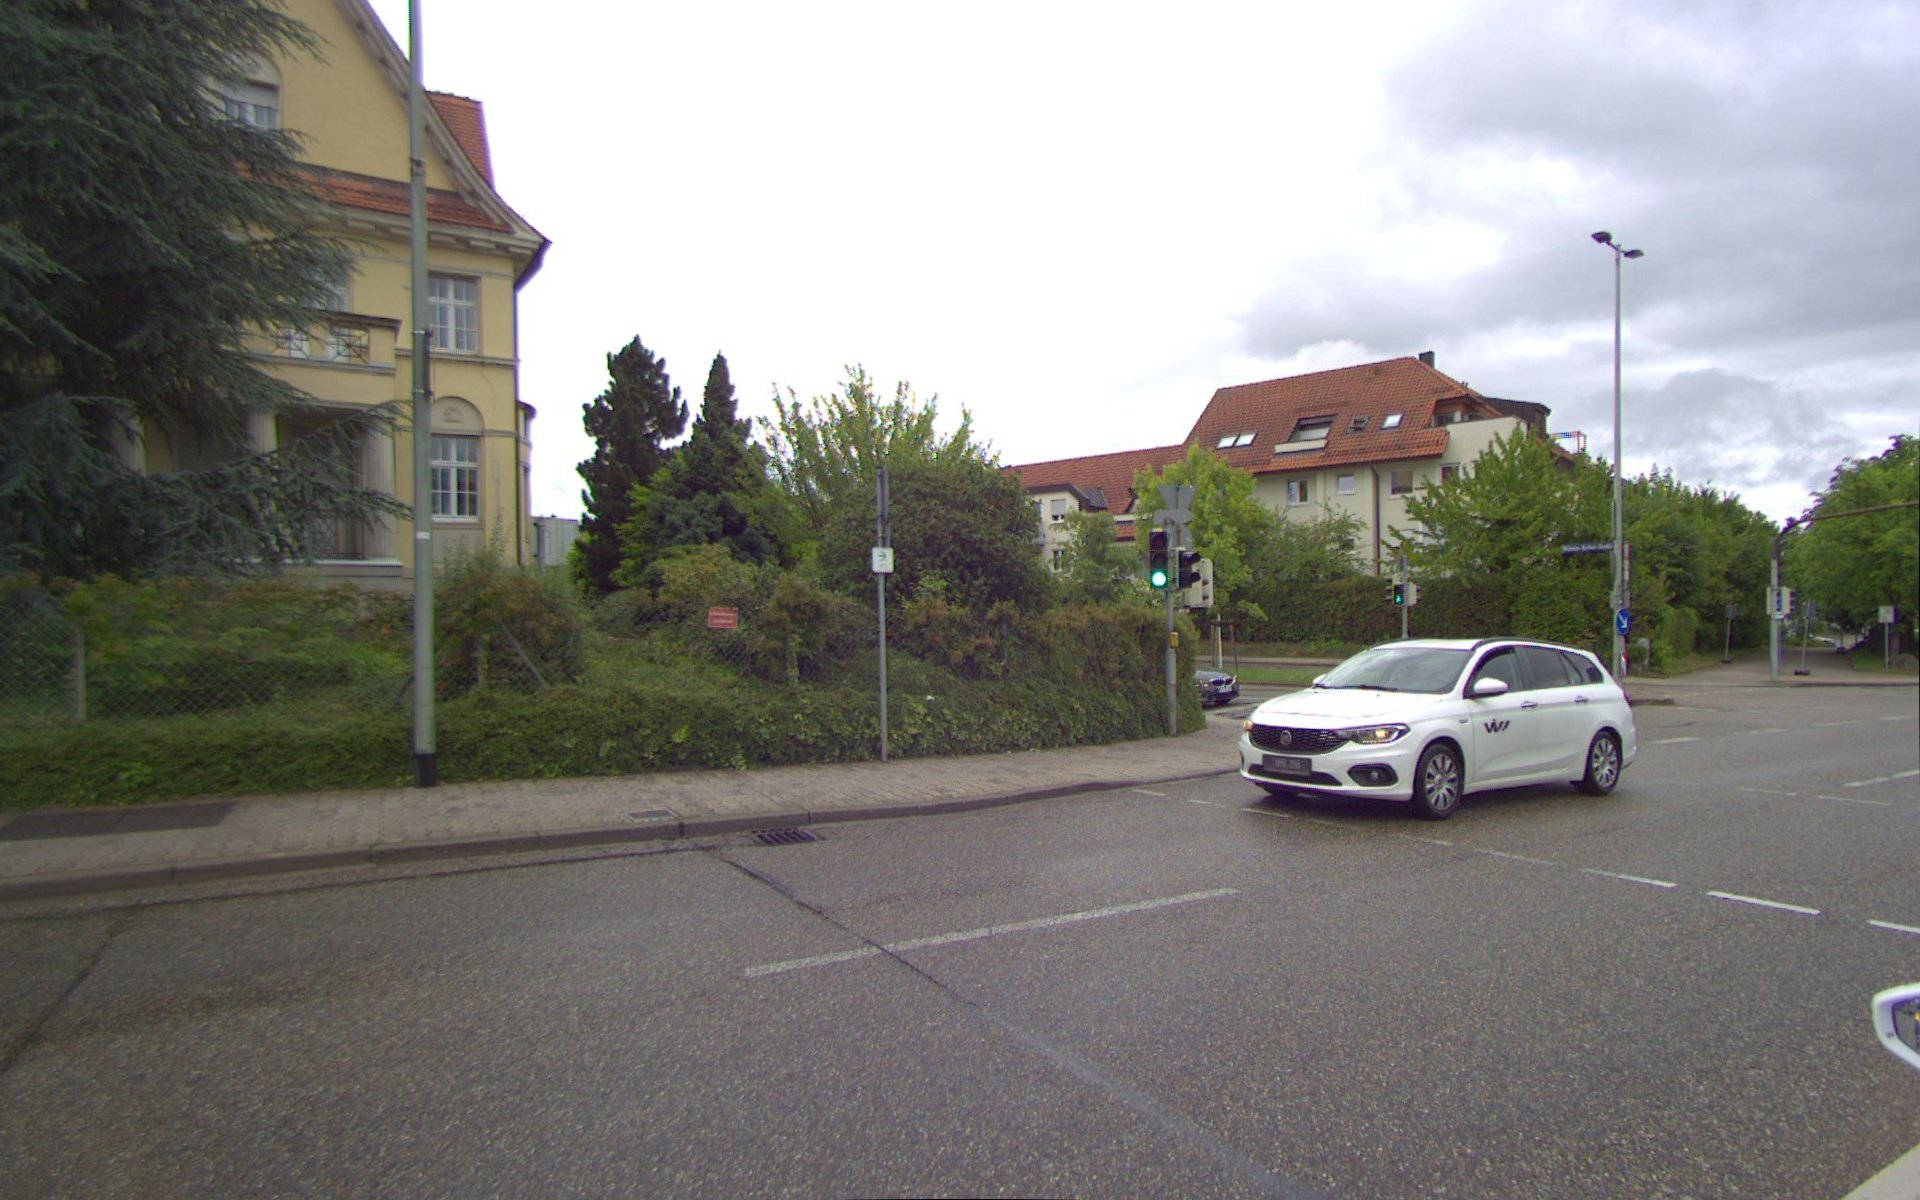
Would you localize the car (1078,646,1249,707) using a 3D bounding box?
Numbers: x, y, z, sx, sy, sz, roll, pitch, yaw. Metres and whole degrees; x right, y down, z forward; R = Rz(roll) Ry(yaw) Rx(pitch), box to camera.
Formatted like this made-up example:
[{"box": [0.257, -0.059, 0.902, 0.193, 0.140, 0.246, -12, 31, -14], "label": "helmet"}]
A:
[{"box": [5.208, 1.935, 26.216, 1.759, 1.411, 4.392, 1, -3, -35], "label": "car"}]

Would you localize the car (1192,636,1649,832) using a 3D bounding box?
[{"box": [4.489, 1.100, 9.657, 4.260, 1.473, 1.958, 1, -2, -32], "label": "car"}]
